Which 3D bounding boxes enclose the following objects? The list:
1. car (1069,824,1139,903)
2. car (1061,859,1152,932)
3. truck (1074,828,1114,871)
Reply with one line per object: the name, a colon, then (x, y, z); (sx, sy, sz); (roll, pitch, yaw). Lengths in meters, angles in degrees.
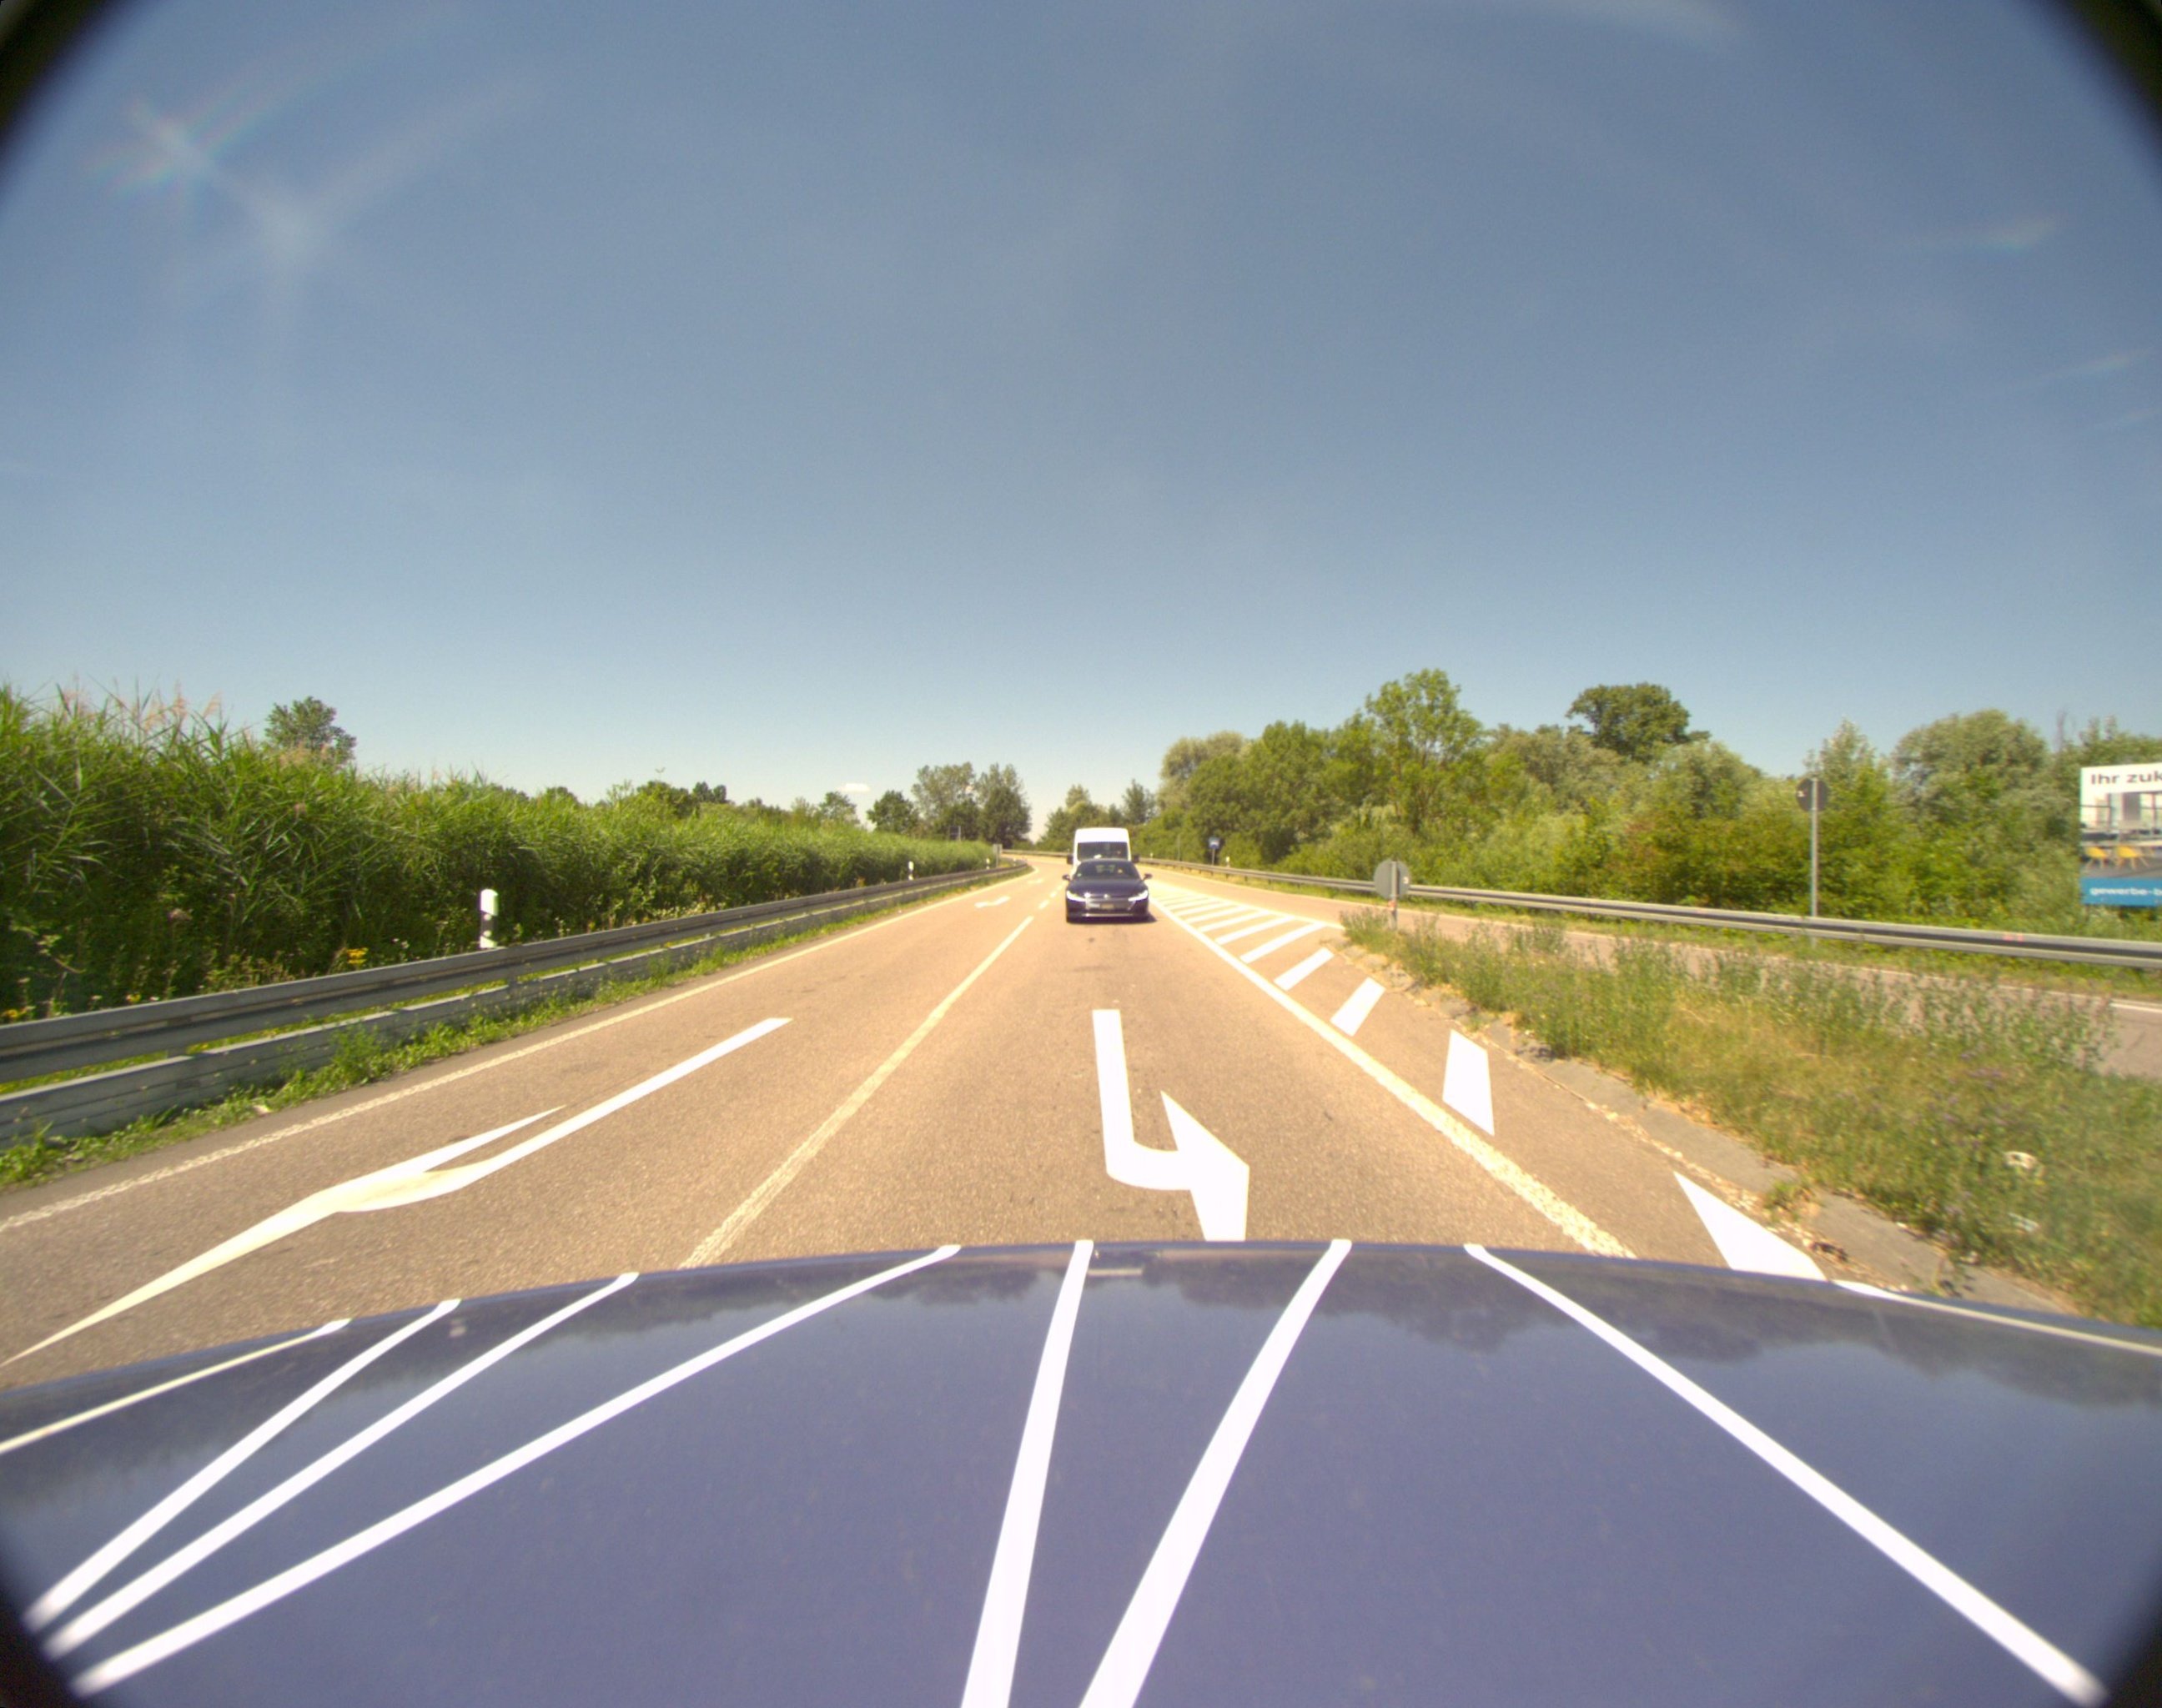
car: (0.832, 0.293, 27.385); (2.228, 2.480, 5.983); (-1, 0, 2)
car: (0.592, 0.853, 17.694); (1.847, 1.415, 4.562); (-1, 0, 2)
truck: (0.885, -0.347, 60.062); (2.694, 3.177, 9.174); (0, 0, -2)
